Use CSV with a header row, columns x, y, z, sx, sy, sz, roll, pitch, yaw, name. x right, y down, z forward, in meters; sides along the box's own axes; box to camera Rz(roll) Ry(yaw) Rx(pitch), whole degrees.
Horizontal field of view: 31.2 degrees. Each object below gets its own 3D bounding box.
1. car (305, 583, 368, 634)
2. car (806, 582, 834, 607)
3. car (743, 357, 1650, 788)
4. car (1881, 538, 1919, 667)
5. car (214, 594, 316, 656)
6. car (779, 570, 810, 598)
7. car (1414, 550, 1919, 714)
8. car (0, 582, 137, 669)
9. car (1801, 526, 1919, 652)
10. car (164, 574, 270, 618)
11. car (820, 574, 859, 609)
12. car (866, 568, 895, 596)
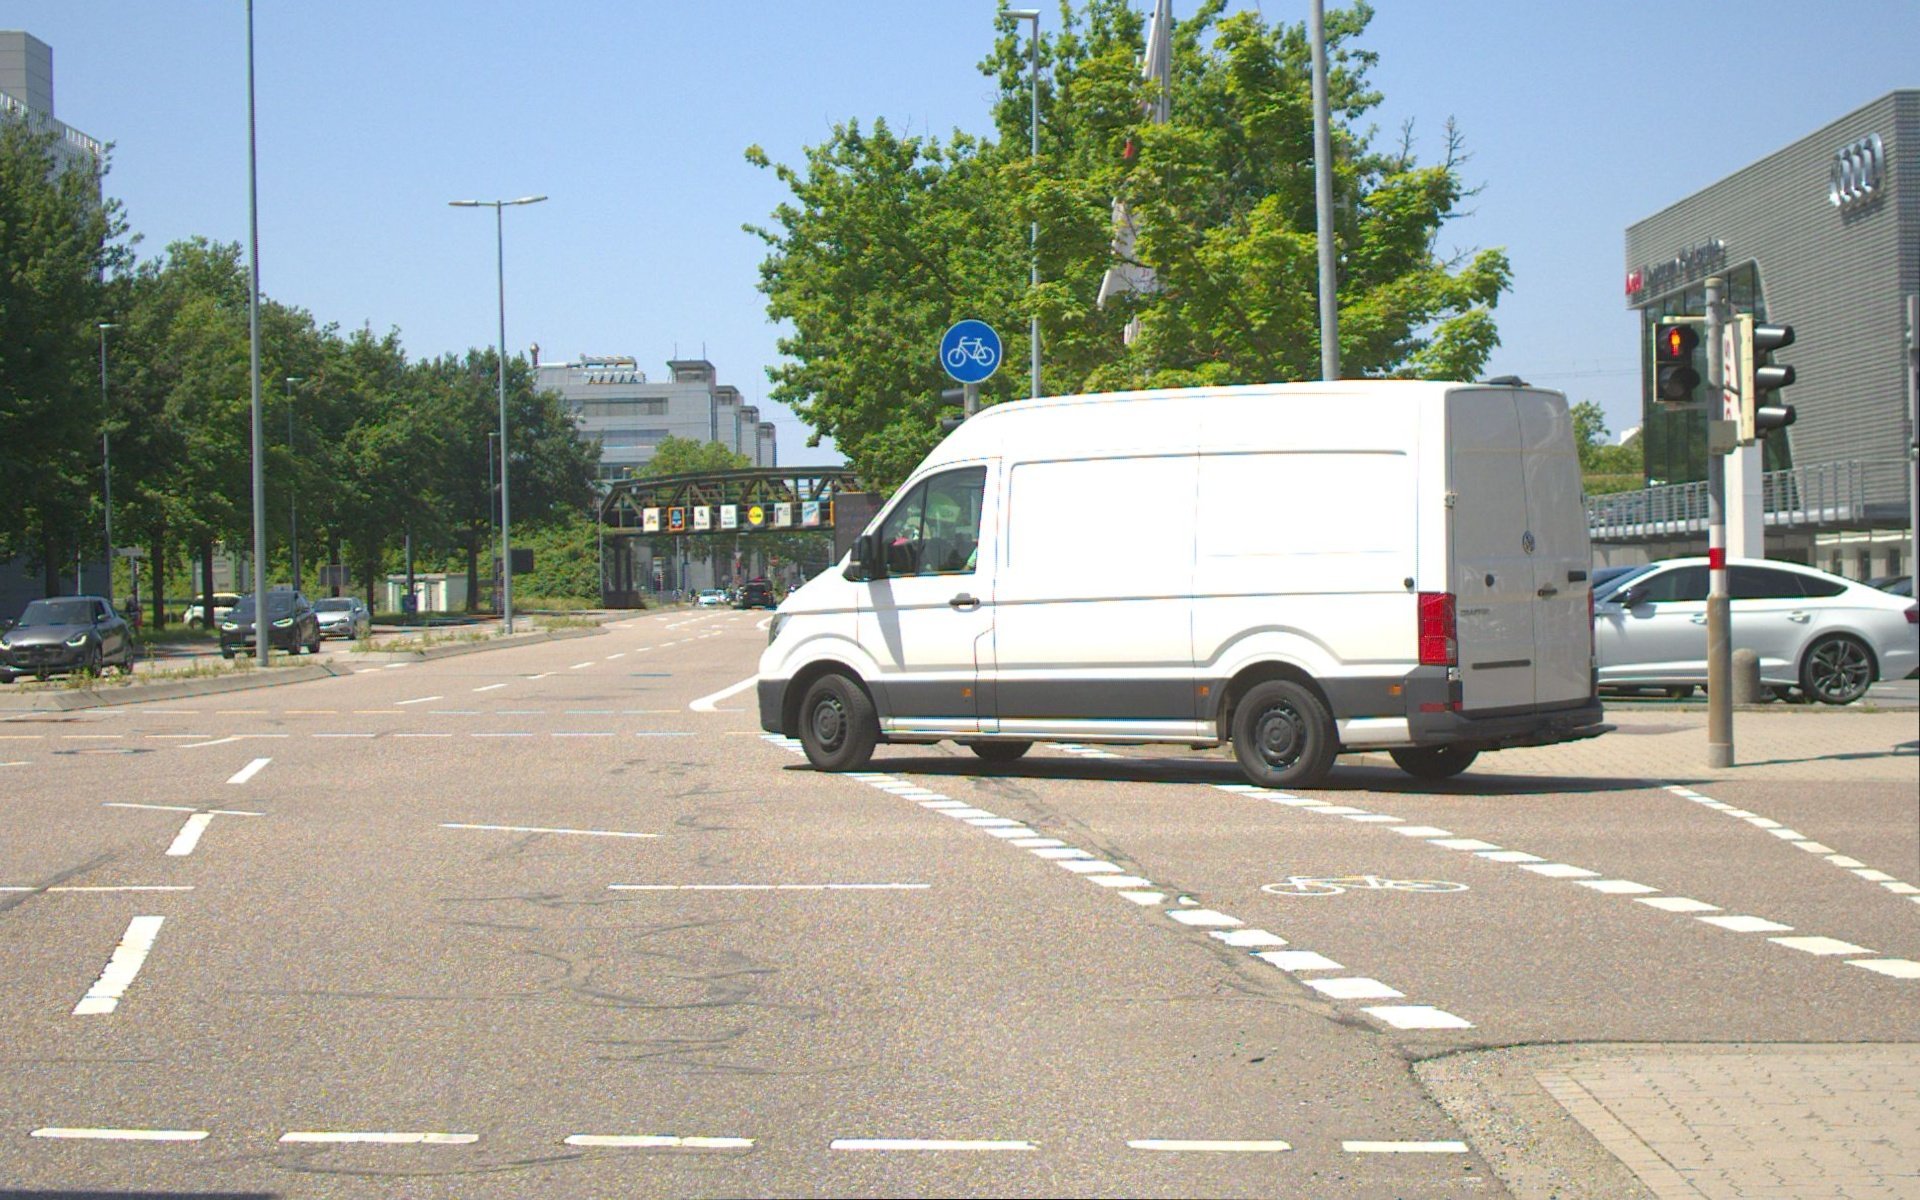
x,y,z,sx,sy,sz,roll,pitch,yaw,name
-21.098,0.272,116.397,1.648,1.647,4.164,-1,1,-5,car
-9.647,-0.385,236.448,1.772,1.722,4.000,-1,0,-1,car
1.439,-0.168,22.737,5.795,2.525,2.098,0,0,38,car
16.844,-0.012,54.383,3.987,2.007,2.000,-1,1,1,car
-16.498,0.571,81.736,1.684,1.406,3.665,-1,0,-1,car
-10.600,-1.033,220.320,1.772,1.722,4.000,-1,0,-1,car
6.879,0.291,33.221,4.741,1.452,2.000,-1,1,2,car
-15.924,0.432,60.996,1.732,1.422,3.706,-3,0,-1,car
16.141,-0.219,56.770,3.987,2.007,2.000,-1,1,1,car
-32.249,-0.181,149.234,4.017,1.804,2.000,1,1,7,car
-3.695,-0.274,105.452,1.137,1.038,2.308,-1,1,-1,car
-5.108,-1.169,221.898,1.772,1.722,4.000,-1,0,-1,car
